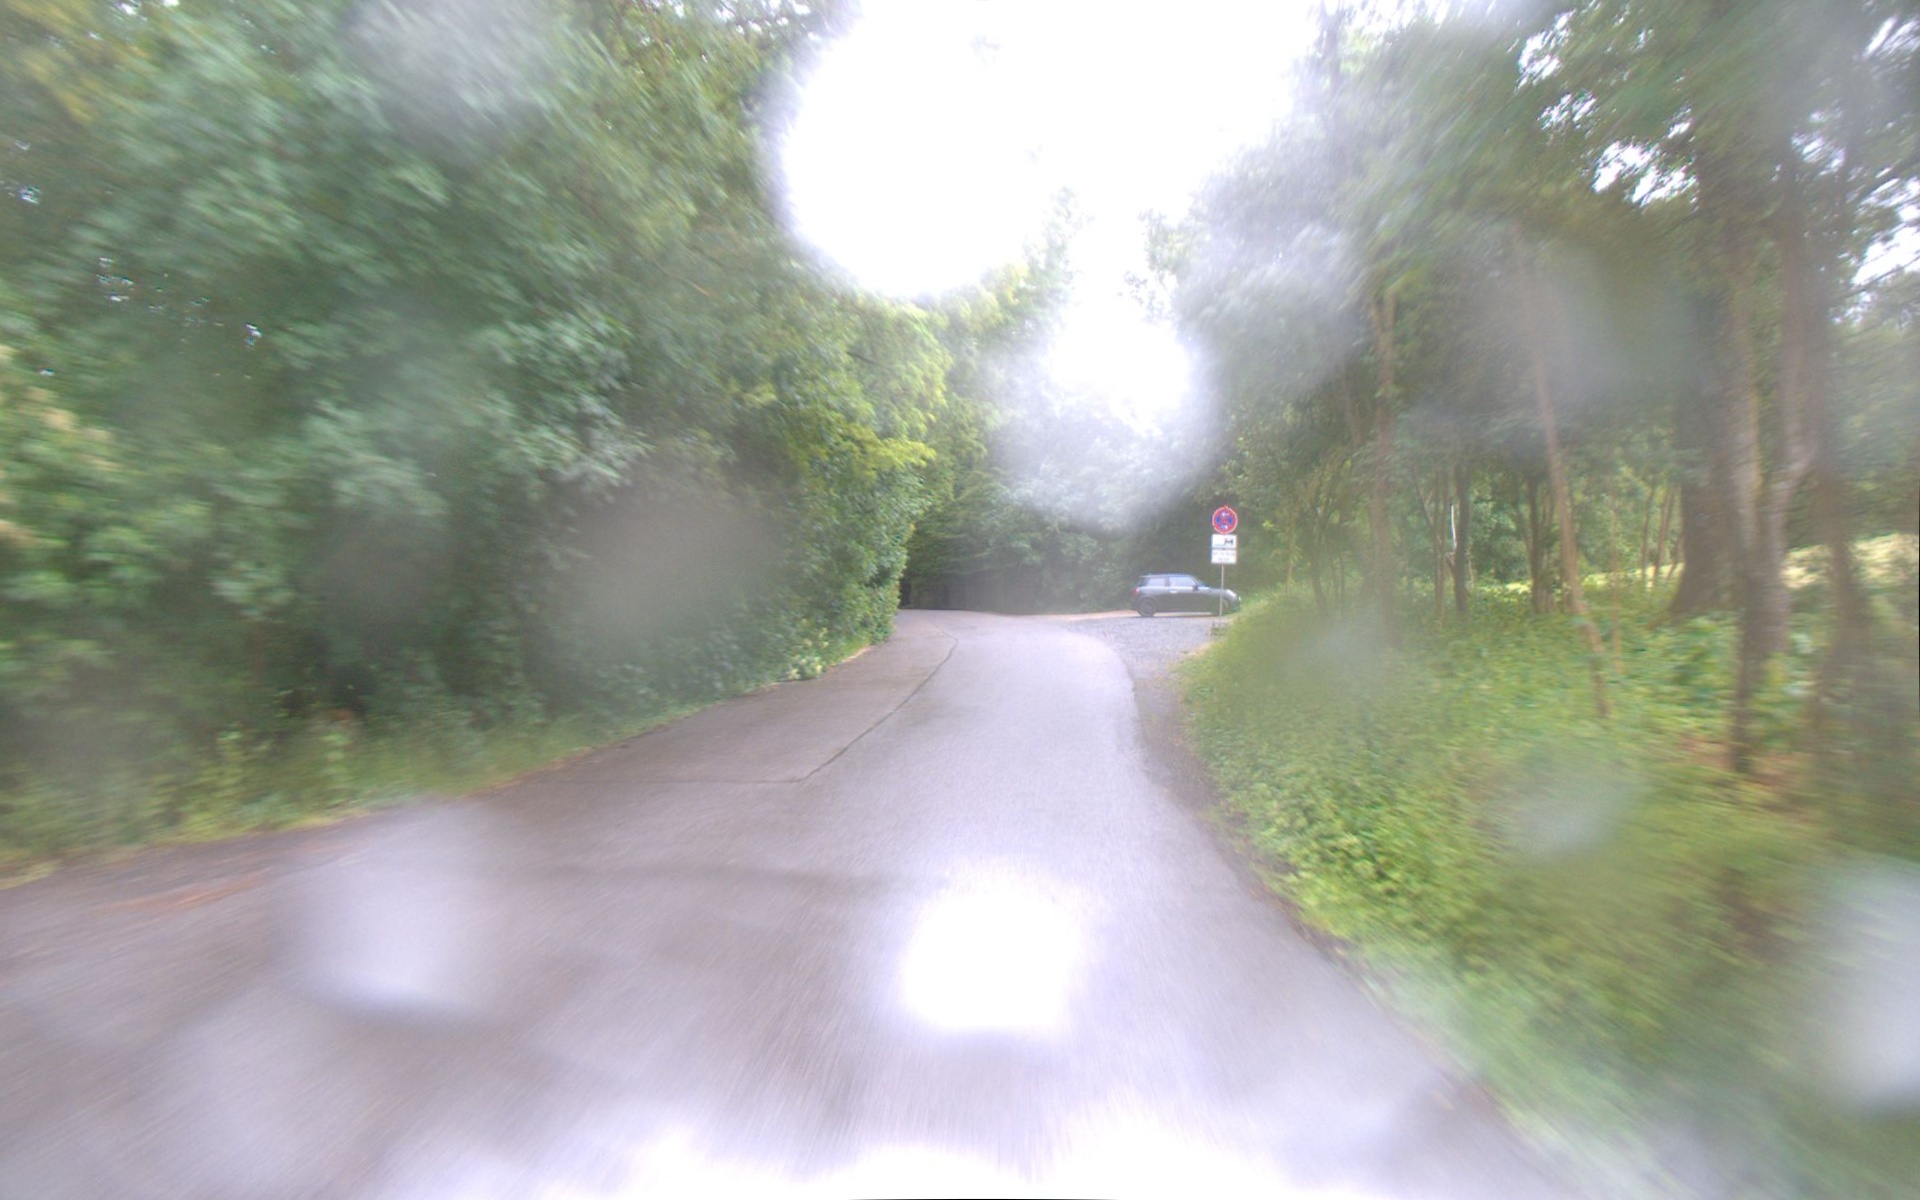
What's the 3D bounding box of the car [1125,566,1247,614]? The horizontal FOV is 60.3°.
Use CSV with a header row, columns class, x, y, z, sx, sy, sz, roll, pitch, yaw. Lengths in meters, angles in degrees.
class,x,y,z,sx,sy,sz,roll,pitch,yaw
car,7.655,-0.348,56.308,3.904,1.415,2.001,-2,1,2
